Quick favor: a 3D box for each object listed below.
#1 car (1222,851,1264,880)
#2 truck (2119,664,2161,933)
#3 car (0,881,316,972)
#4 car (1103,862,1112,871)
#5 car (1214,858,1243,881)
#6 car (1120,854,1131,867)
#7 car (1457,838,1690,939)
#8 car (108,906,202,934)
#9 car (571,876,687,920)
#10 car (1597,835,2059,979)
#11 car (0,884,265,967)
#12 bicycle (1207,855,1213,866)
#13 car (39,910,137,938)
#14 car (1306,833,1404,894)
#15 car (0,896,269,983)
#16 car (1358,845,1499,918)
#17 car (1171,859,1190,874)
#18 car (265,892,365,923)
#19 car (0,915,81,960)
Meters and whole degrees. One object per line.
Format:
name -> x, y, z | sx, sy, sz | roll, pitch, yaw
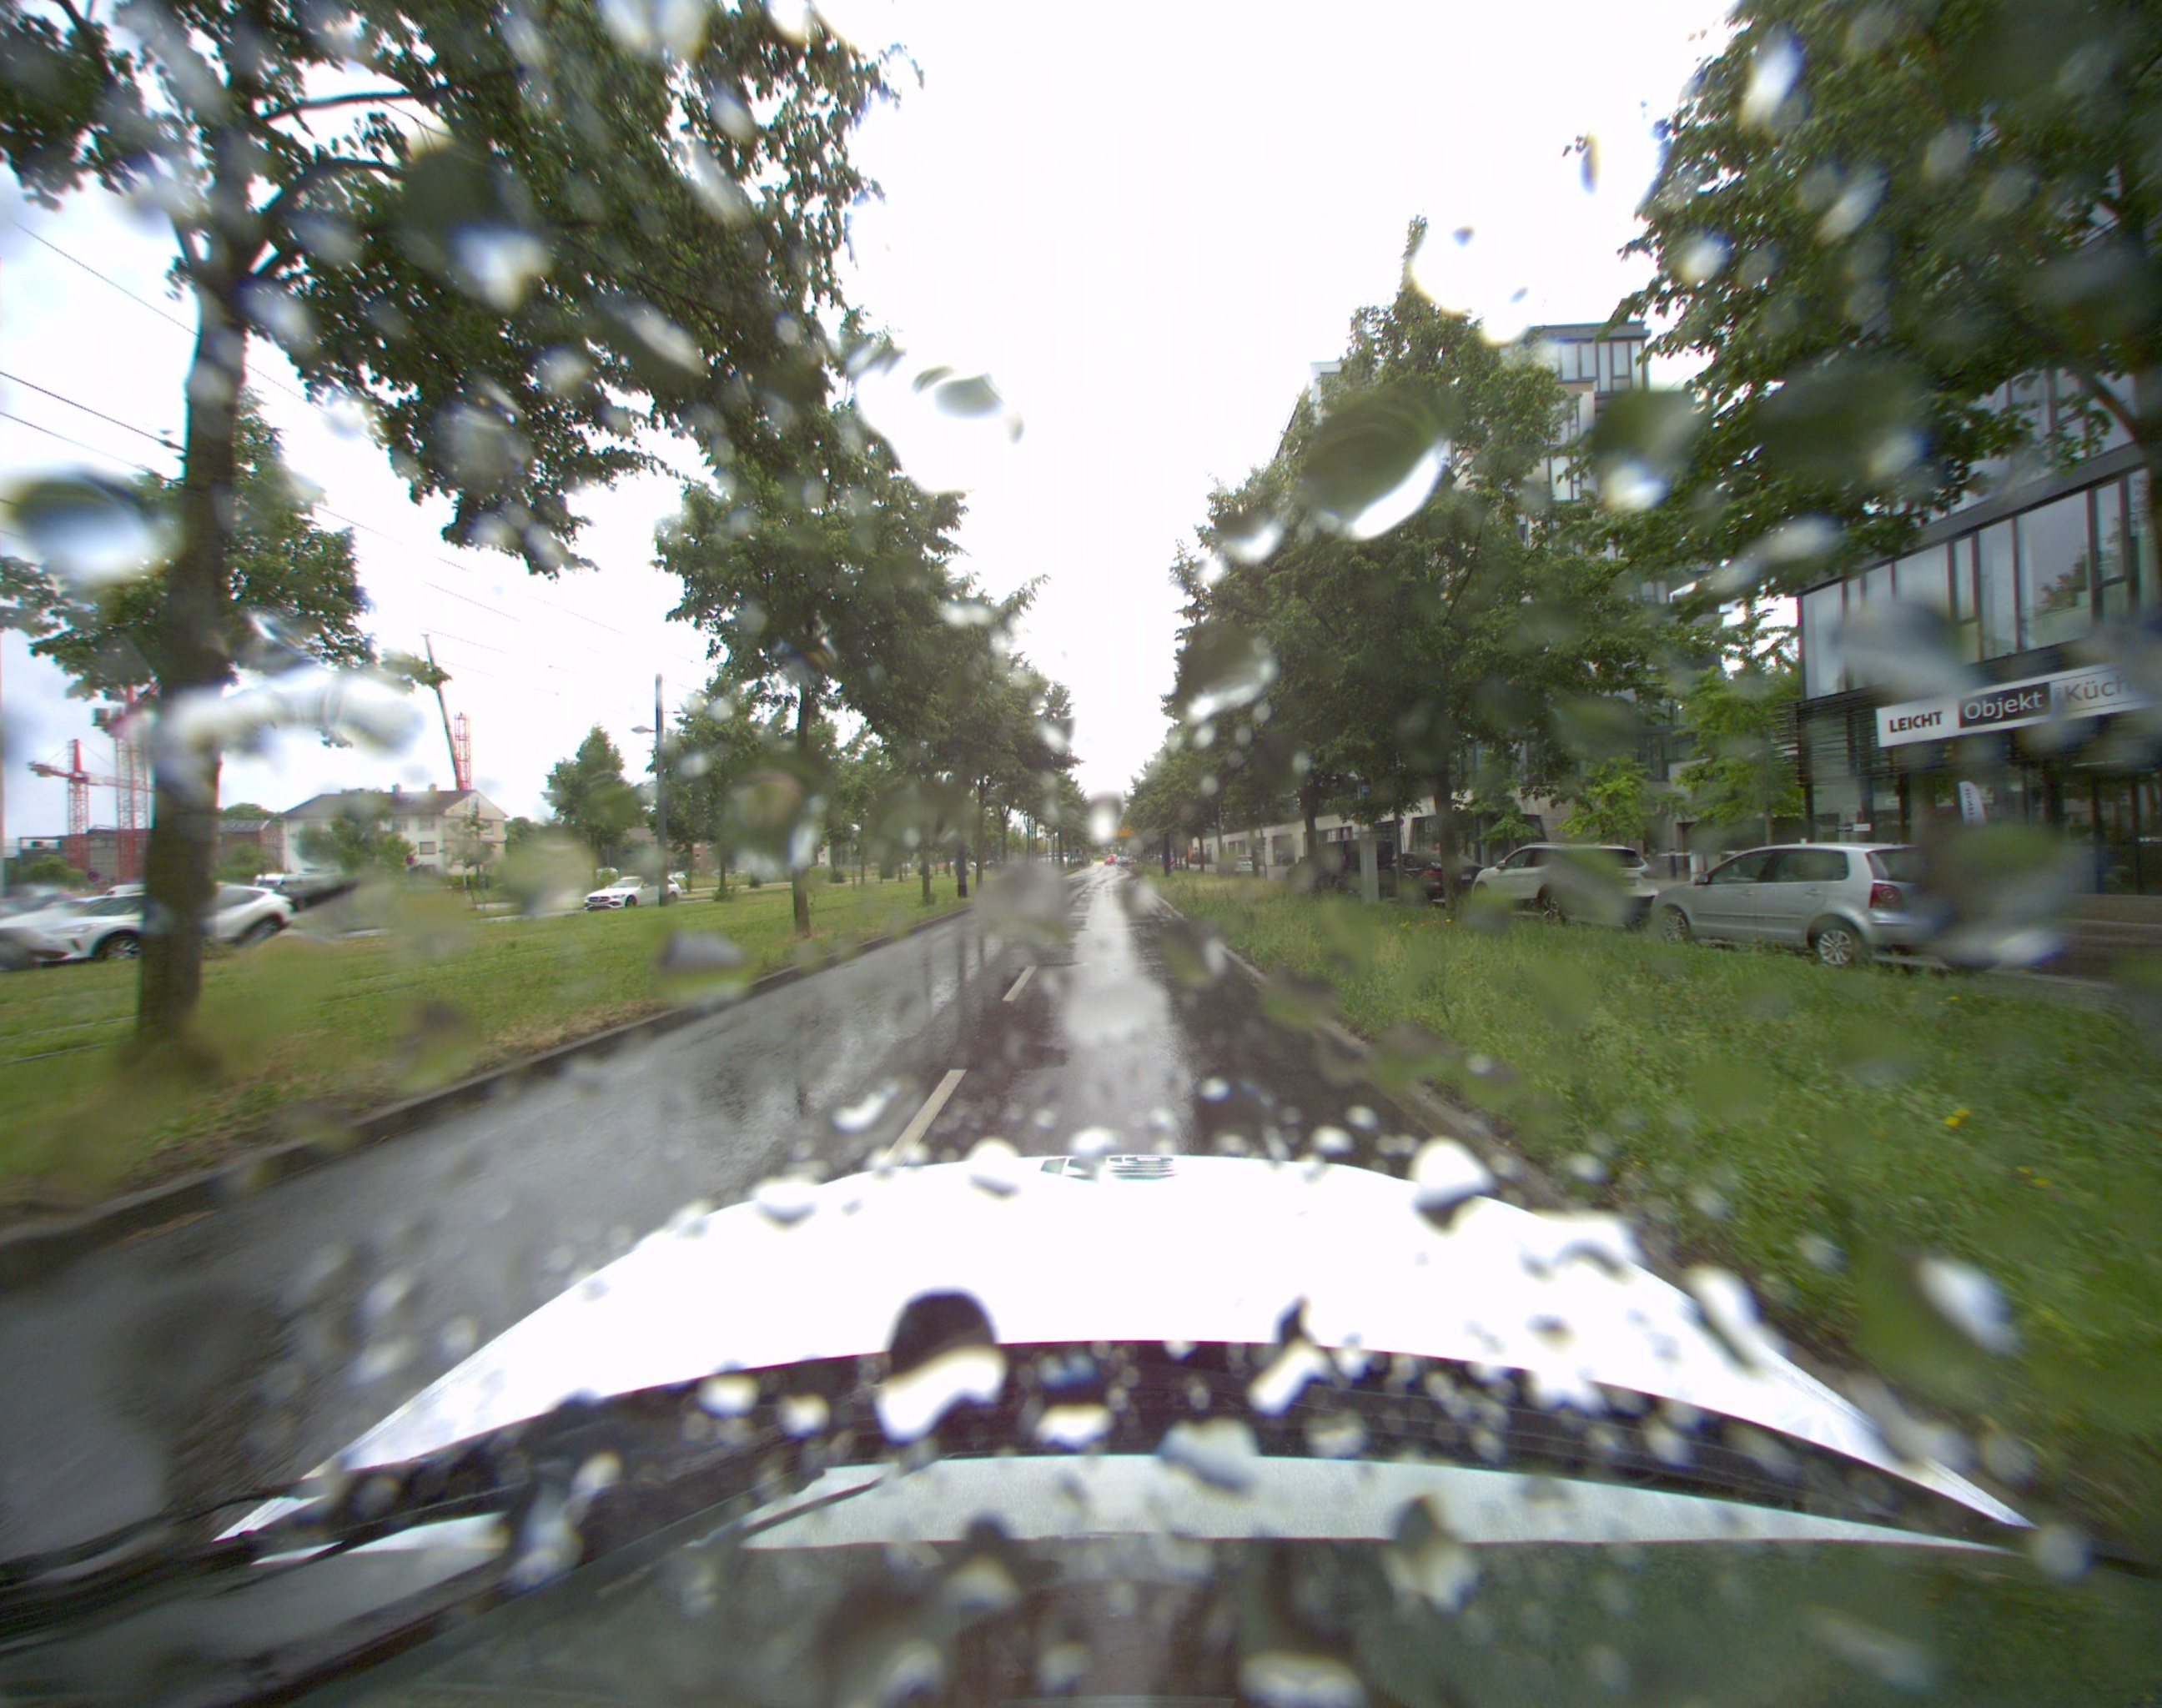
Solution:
car -> 10.754, 0.732, 54.338 | 1.986, 1.669, 4.727 | -2, 2, 2
truck -> 15.414, -0.776, 6.586 | 3.015, 3.441, 8.544 | -2, 0, -1
car -> -18.720, 1.351, 16.525 | 1.943, 1.452, 4.577 | -2, -1, 2
car -> 6.662, 3.097, 202.055 | 1.984, 2.013, 4.005 | -2, 2, 4
car -> 10.790, 1.097, 59.733 | 1.619, 1.490, 3.658 | -2, 2, 2
car -> 8.128, 1.169, 148.614 | 1.933, 2.013, 4.003 | -2, 2, 2
car -> 9.737, 0.558, 16.659 | 1.986, 1.669, 4.726 | -2, 2, 1
car -> -48.358, 3.438, 42.590 | 1.284, 1.072, 3.021 | -2, 2, 5
car -> -19.560, 1.845, 35.523 | 1.941, 1.460, 4.839 | -2, 2, 5
car -> 9.244, 0.545, 10.796 | 1.764, 1.452, 4.722 | 2, 0, -1
car -> -24.406, 1.729, 20.959 | 1.941, 1.749, 4.582 | -2, -1, 5
bicycle -> 23.617, 1.194, 149.210 | 0.769, 1.722, 3.122 | -2, 2, 1
car -> -52.016, 3.645, 42.726 | 1.284, 1.072, 3.021 | -2, 2, 5
car -> 9.814, 0.261, 29.578 | 1.986, 1.952, 5.032 | -2, 2, 2
car -> -21.828, 1.838, 18.560 | 1.943, 1.513, 4.577 | -2, -1, 2
car -> 9.523, 0.648, 22.822 | 1.986, 1.669, 4.961 | -2, 2, 2
car -> 12.187, 1.488, 100.168 | 1.874, 1.505, 4.727 | -2, 2, 2
car -> -40.043, 2.768, 42.693 | 1.493, 1.240, 3.665 | -2, 2, 5
car -> -44.179, 3.453, 33.636 | 3.770, 1.608, 1.747 | -2, 2, 5
